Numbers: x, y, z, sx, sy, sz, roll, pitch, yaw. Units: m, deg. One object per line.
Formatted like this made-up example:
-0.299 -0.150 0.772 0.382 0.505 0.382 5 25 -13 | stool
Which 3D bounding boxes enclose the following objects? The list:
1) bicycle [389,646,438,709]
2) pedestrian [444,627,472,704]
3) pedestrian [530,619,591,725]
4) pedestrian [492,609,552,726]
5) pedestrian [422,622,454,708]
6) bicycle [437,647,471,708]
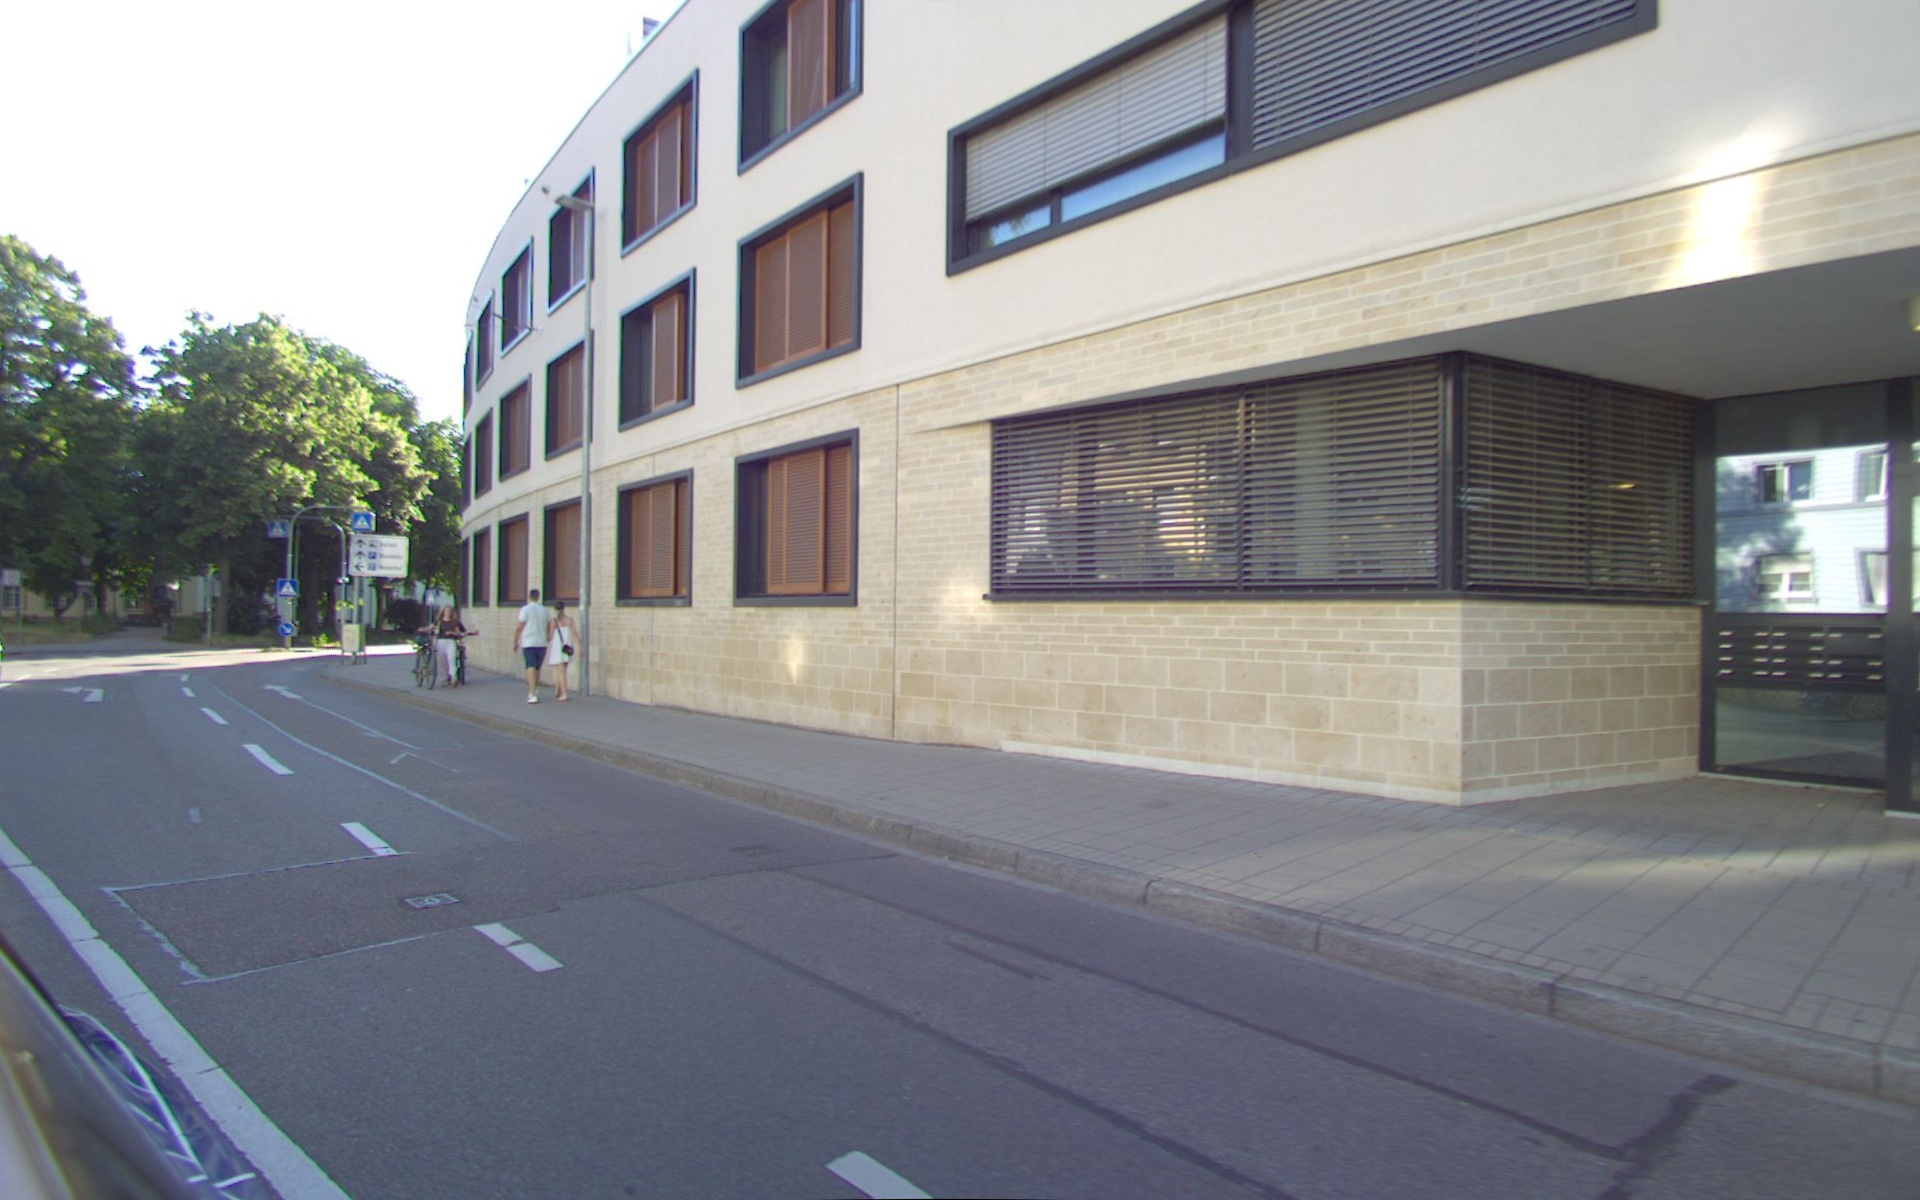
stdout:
-10.909 1.516 20.161 0.435 1.187 1.969 2 -3 -41 | bicycle
-10.505 1.362 21.175 0.467 1.577 0.604 0 -2 -31 | pedestrian
-6.787 1.198 17.195 0.694 1.727 0.844 2 -2 -42 | pedestrian
-7.250 1.086 16.750 0.598 1.863 0.994 2 -2 -42 | pedestrian
-10.381 1.283 20.116 0.467 1.660 0.604 2 -3 -31 | pedestrian
-10.324 1.557 20.639 0.370 1.176 1.842 0 -2 -34 | bicycle
